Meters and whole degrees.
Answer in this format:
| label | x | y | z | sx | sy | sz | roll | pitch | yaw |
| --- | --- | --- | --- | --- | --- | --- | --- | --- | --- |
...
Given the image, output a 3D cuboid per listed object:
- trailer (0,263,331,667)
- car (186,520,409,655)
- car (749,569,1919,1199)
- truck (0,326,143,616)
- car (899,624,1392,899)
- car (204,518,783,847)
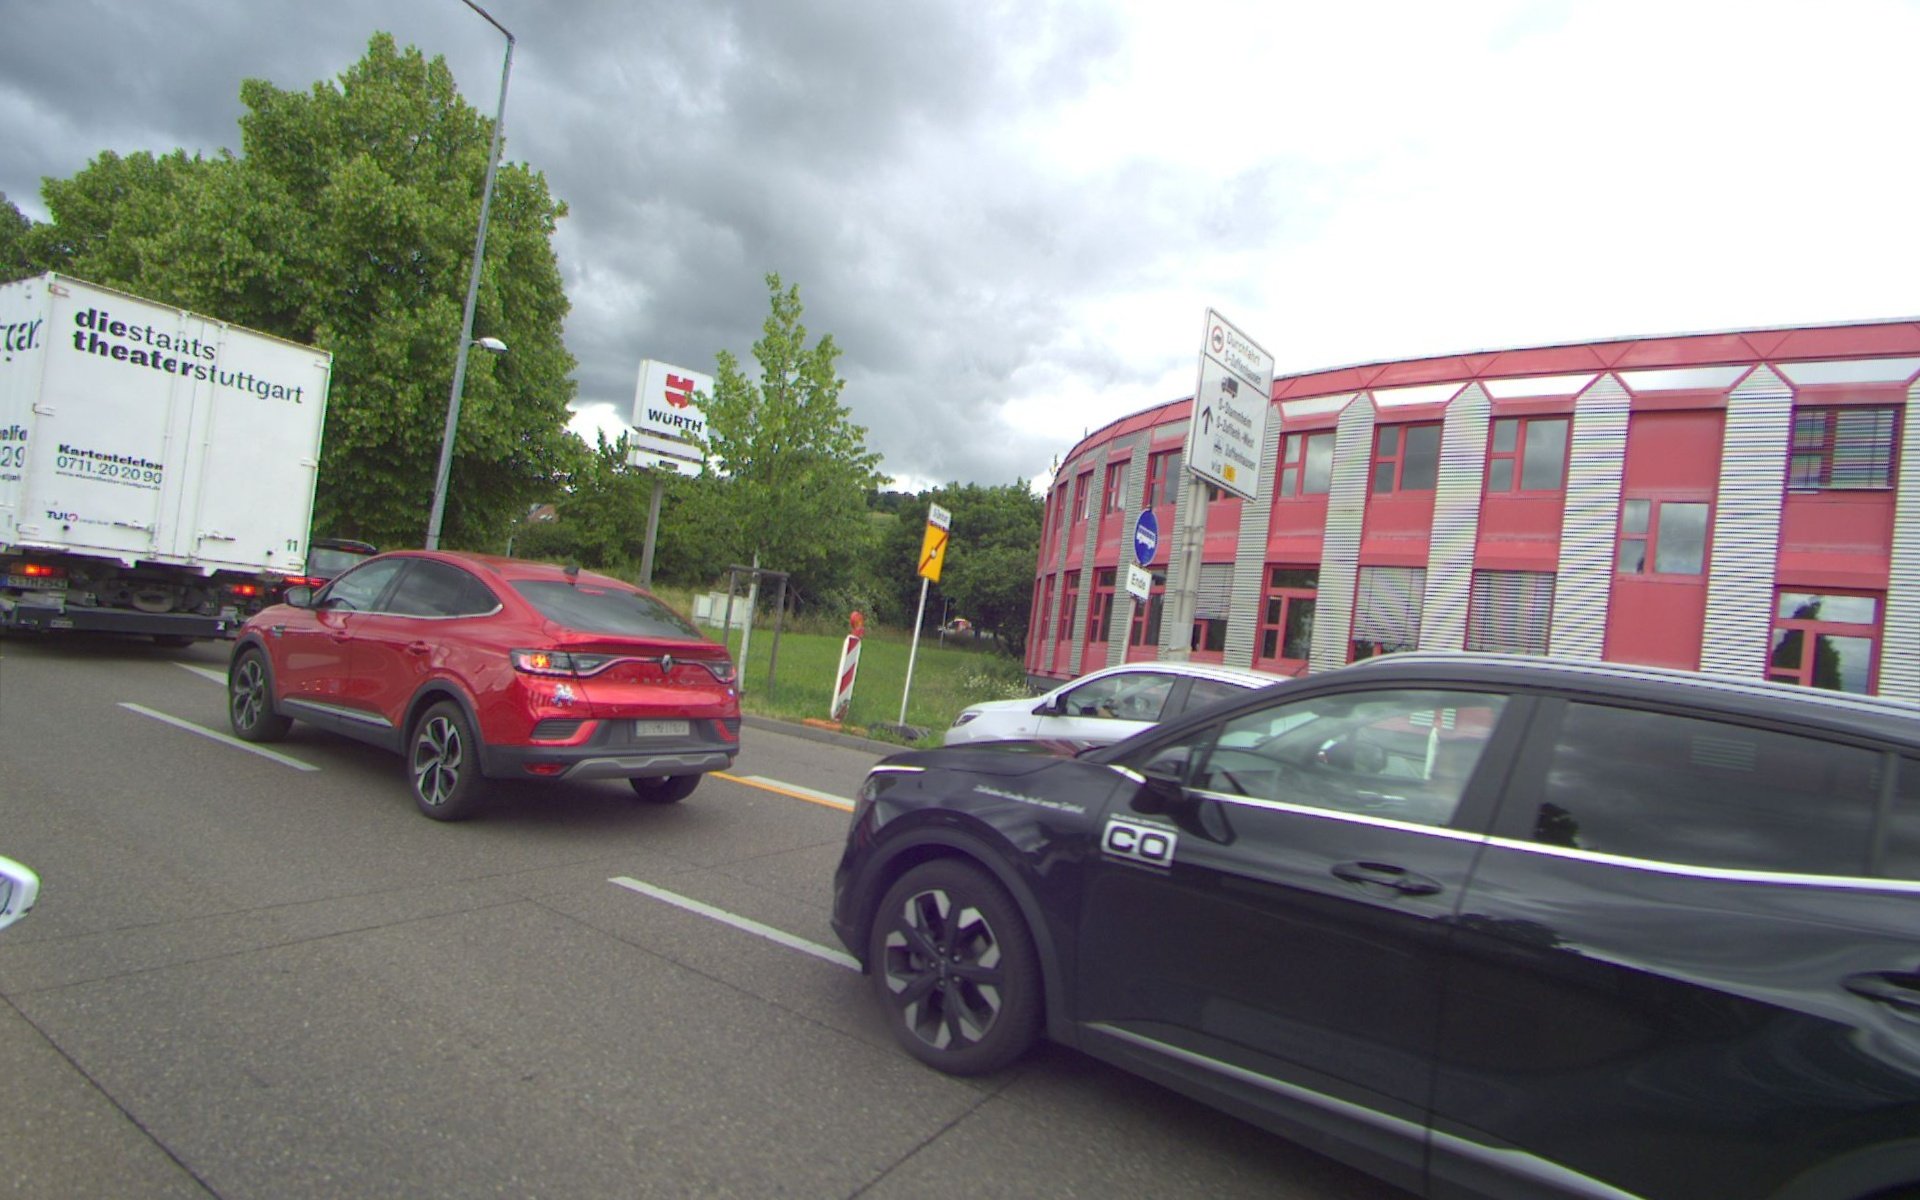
| label | x | y | z | sx | sy | sz | roll | pitch | yaw |
| --- | --- | --- | --- | --- | --- | --- | --- | --- | --- |
| trailer | -11.406 | -1.569 | 12.663 | 7.637 | 3.750 | 2.569 | 7 | -1 | 33 |
| car | -10.275 | -0.199 | 15.583 | 3.008 | 1.588 | 1.574 | 8 | -3 | 31 |
| car | 1.521 | 0.960 | 3.340 | 4.338 | 1.579 | 1.846 | 6 | -2 | 38 |
| truck | -14.506 | -1.946 | 14.671 | 4.039 | 3.750 | 2.574 | 7 | -1 | 33 |
| car | 1.495 | 1.207 | 8.522 | 3.629 | 1.474 | 1.626 | 7 | -2 | 33 |
| car | -3.462 | 0.411 | 7.149 | 4.251 | 1.542 | 1.709 | 6 | -1 | 35 |
